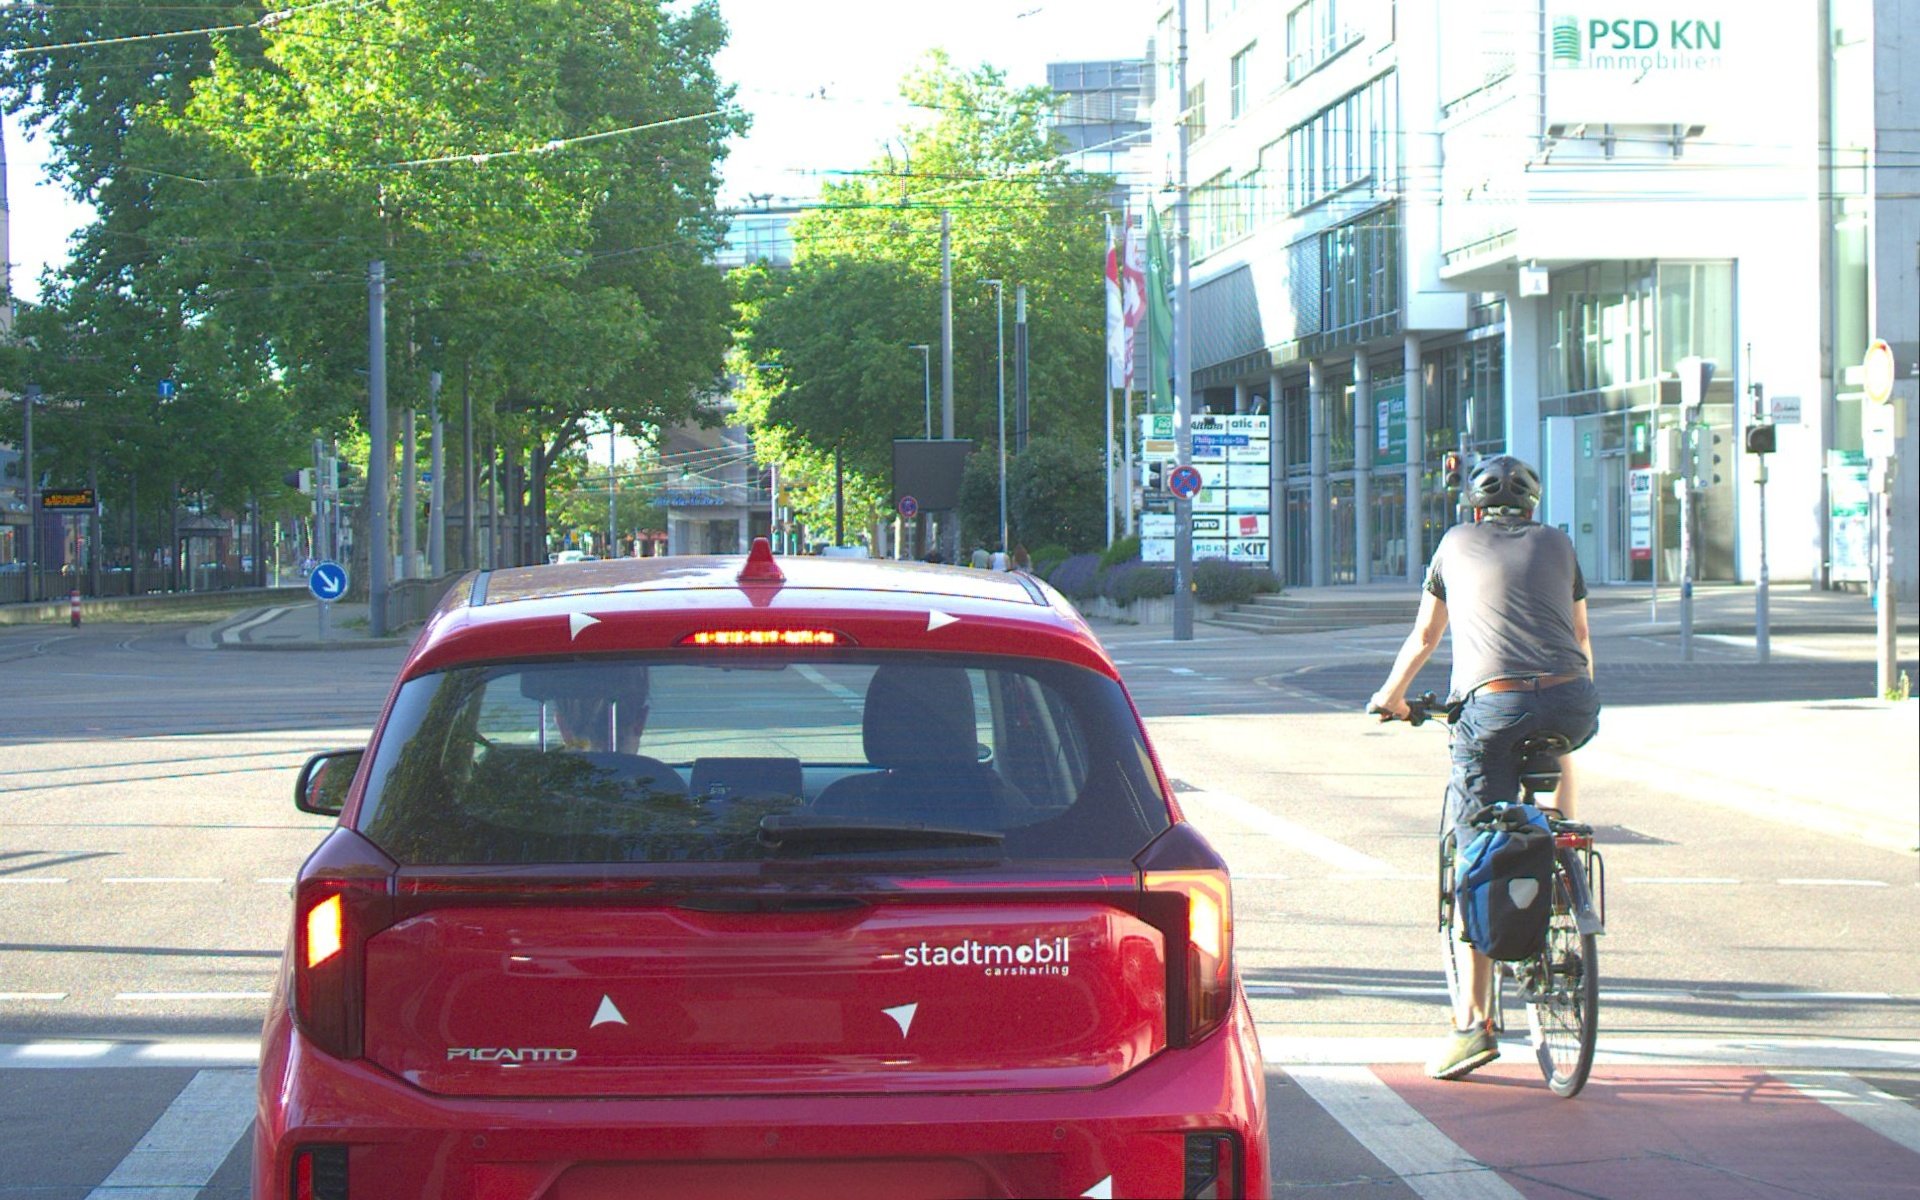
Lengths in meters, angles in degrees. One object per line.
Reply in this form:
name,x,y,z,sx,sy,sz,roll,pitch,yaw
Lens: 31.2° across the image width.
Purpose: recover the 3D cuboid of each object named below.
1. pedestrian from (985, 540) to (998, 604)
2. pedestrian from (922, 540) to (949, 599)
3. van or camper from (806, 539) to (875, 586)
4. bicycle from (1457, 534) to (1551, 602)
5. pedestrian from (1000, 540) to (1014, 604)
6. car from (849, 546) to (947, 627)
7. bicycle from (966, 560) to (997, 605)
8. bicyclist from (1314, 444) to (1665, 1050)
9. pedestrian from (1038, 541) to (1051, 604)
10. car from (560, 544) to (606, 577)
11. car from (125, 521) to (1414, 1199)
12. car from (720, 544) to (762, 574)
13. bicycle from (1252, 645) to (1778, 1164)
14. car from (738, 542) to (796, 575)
pedestrian,0.780,-0.681,84.275,0.294,1.556,0.302,-1,1,0
pedestrian,-0.710,-0.891,100.092,0.742,1.710,0.748,-1,1,-2
van or camper,-4.596,-1.454,132.106,2.145,1.744,4.433,-1,1,-8
bicycle,11.857,-0.700,74.986,1.934,1.438,0.575,-1,1,-6
pedestrian,1.158,-0.680,84.275,0.294,1.556,0.356,-1,1,-3
car,-1.291,-0.305,69.846,1.843,1.562,4.274,-1,1,-2
bicycle,0.590,-0.478,92.785,0.792,1.157,2.500,-1,1,1
bicyclist,1.502,0.400,9.854,0.743,1.663,0.745,1,1,-12
pedestrian,2.078,-0.674,84.109,0.294,1.556,0.314,-1,1,1
car,-19.235,-2.023,175.299,2.057,1.648,3.493,-1,1,-10
car,-0.422,0.603,6.796,1.839,1.484,3.717,-1,1,-5
car,-11.694,-2.198,183.263,1.884,1.523,4.433,-1,1,-8
bicycle,1.502,0.788,9.773,0.743,1.220,2.157,1,1,-11
car,-9.404,-2.029,167.097,2.478,1.523,4.433,-1,1,-7
